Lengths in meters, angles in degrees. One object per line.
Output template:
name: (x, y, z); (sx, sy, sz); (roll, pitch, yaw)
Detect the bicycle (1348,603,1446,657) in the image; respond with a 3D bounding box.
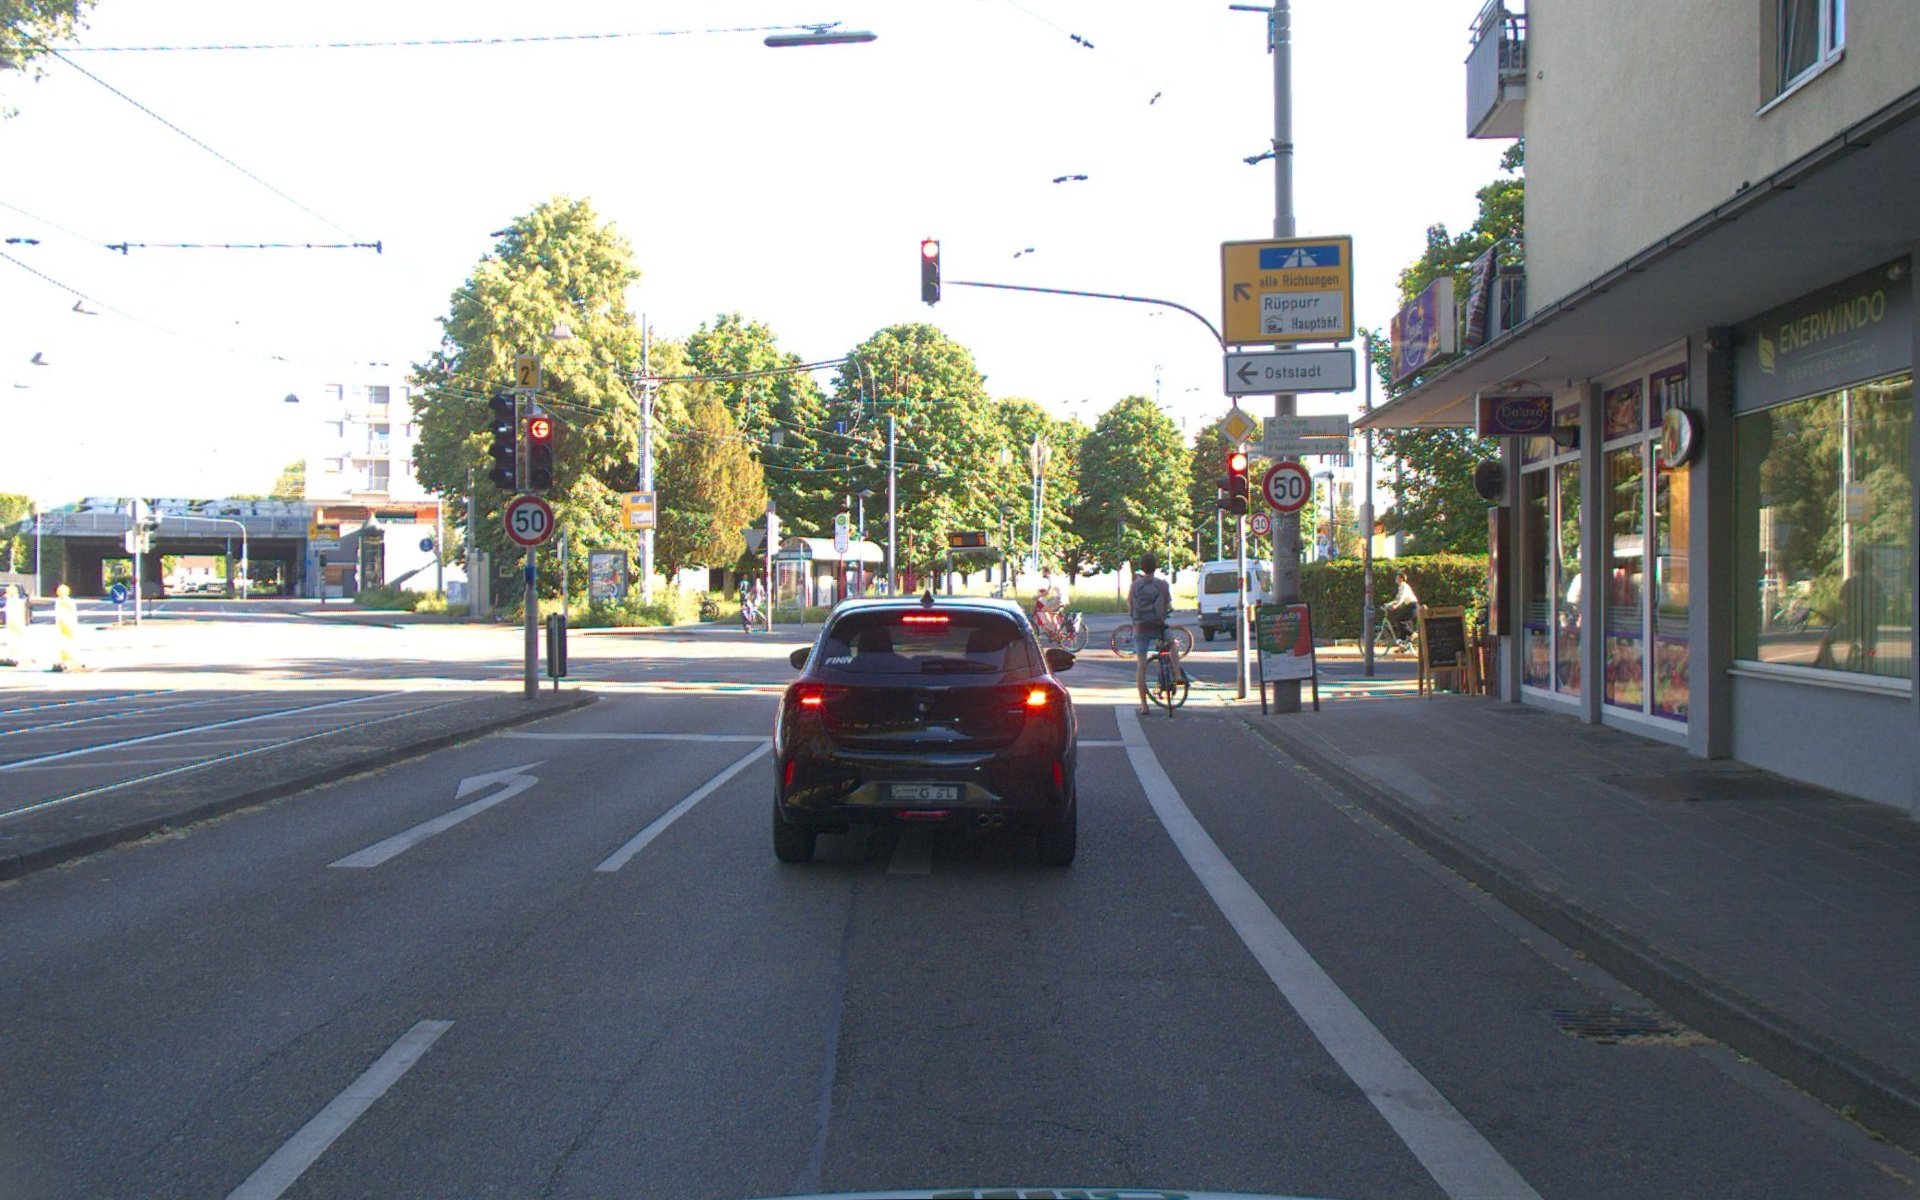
bicycle: (9.276, 0.634, 35.166); (2.011, 1.113, 0.593); (0, 0, 13)

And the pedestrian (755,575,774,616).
pedestrian: (-8.100, -0.177, 68.511); (0.623, 1.658, 0.572); (2, -1, 6)

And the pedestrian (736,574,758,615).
pedestrian: (-8.833, -0.211, 68.583); (0.735, 1.658, 0.598); (2, -1, 6)

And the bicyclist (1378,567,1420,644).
bicyclist: (9.320, 0.118, 35.160); (0.843, 1.623, 0.650); (0, 0, 13)

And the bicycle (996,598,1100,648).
bicycle: (1.980, 0.516, 37.251); (2.244, 1.103, 0.801); (0, 0, 12)

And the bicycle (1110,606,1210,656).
bicycle: (4.132, 0.631, 34.119); (2.014, 1.001, 0.673); (0, 0, 11)

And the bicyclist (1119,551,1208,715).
bicyclist: (2.387, 0.371, 19.481); (0.922, 1.883, 0.864); (0, 0, -1)

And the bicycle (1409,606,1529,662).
bicycle: (10.017, 0.652, 32.570); (2.153, 1.051, 0.832); (0, 0, -14)

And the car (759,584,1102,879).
car: (-0.157, 0.646, 10.355); (1.692, 1.454, 4.187); (1, 0, 0)

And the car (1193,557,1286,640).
car: (8.206, -0.074, 48.273); (2.020, 2.288, 4.889); (0, 1, 18)

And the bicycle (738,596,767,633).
bicycle: (-6.026, 0.406, 48.132); (0.593, 1.049, 1.982); (0, 0, -1)

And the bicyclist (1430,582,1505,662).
bicyclist: (9.986, 0.420, 32.562); (1.094, 1.547, 0.918); (0, 0, -14)

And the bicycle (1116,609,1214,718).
bicycle: (2.389, 0.719, 19.543); (0.842, 1.173, 2.171); (0, 0, -1)

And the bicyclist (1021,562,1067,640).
bicyclist: (1.894, 0.014, 37.260); (0.907, 1.737, 0.876); (0, 0, 12)

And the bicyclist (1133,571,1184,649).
bicyclist: (4.108, 0.202, 34.118); (0.988, 1.598, 0.800); (0, 0, 11)

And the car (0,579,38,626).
car: (-32.930, 0.045, 56.558); (1.798, 1.545, 3.871); (2, 0, -21)
